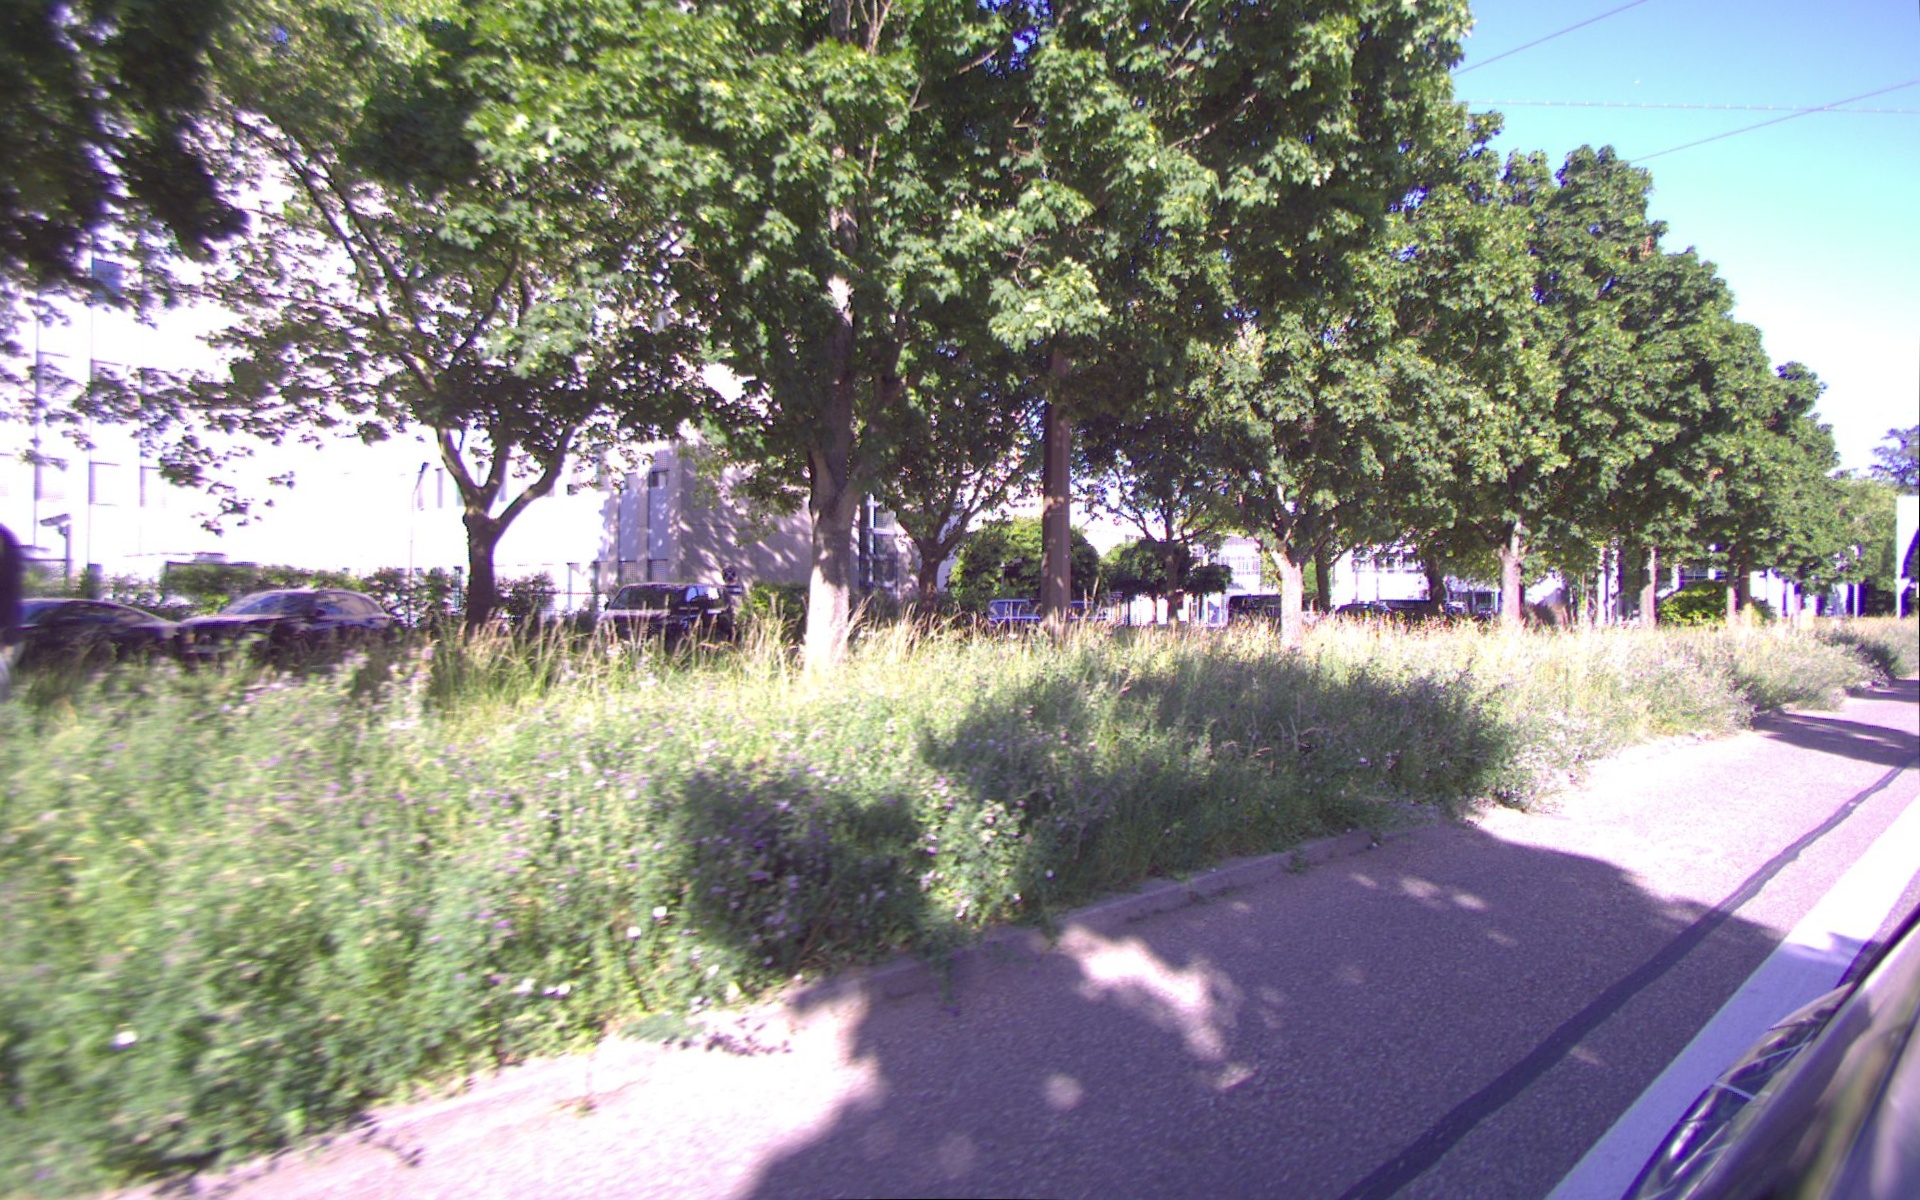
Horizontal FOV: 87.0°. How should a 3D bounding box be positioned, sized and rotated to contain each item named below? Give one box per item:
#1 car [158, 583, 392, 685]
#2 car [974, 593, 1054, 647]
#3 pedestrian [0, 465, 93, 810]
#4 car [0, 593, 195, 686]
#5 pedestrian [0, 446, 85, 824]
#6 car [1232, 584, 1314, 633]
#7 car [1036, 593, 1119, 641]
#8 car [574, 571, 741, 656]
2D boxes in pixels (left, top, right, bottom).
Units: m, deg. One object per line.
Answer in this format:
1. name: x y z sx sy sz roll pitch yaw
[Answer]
1. car: -12.307 0.545 18.516 1.690 1.659 3.989 0 0 -2
2. car: 1.605 0.577 31.629 1.811 1.534 4.554 0 0 -6
3. pedestrian: -5.704 0.213 5.993 0.708 1.955 0.804 -1 -1 44
4. car: -14.849 0.584 16.538 1.676 1.358 3.986 0 0 1
5. pedestrian: -5.261 0.179 5.361 0.706 1.942 0.806 -1 -1 36
6. car: 12.725 0.321 41.509 2.042 1.900 5.180 0 0 4
7. car: 3.810 0.515 33.612 1.811 1.466 4.554 0 0 -6
8. car: -6.978 0.285 24.039 1.886 1.774 5.447 0 0 6
